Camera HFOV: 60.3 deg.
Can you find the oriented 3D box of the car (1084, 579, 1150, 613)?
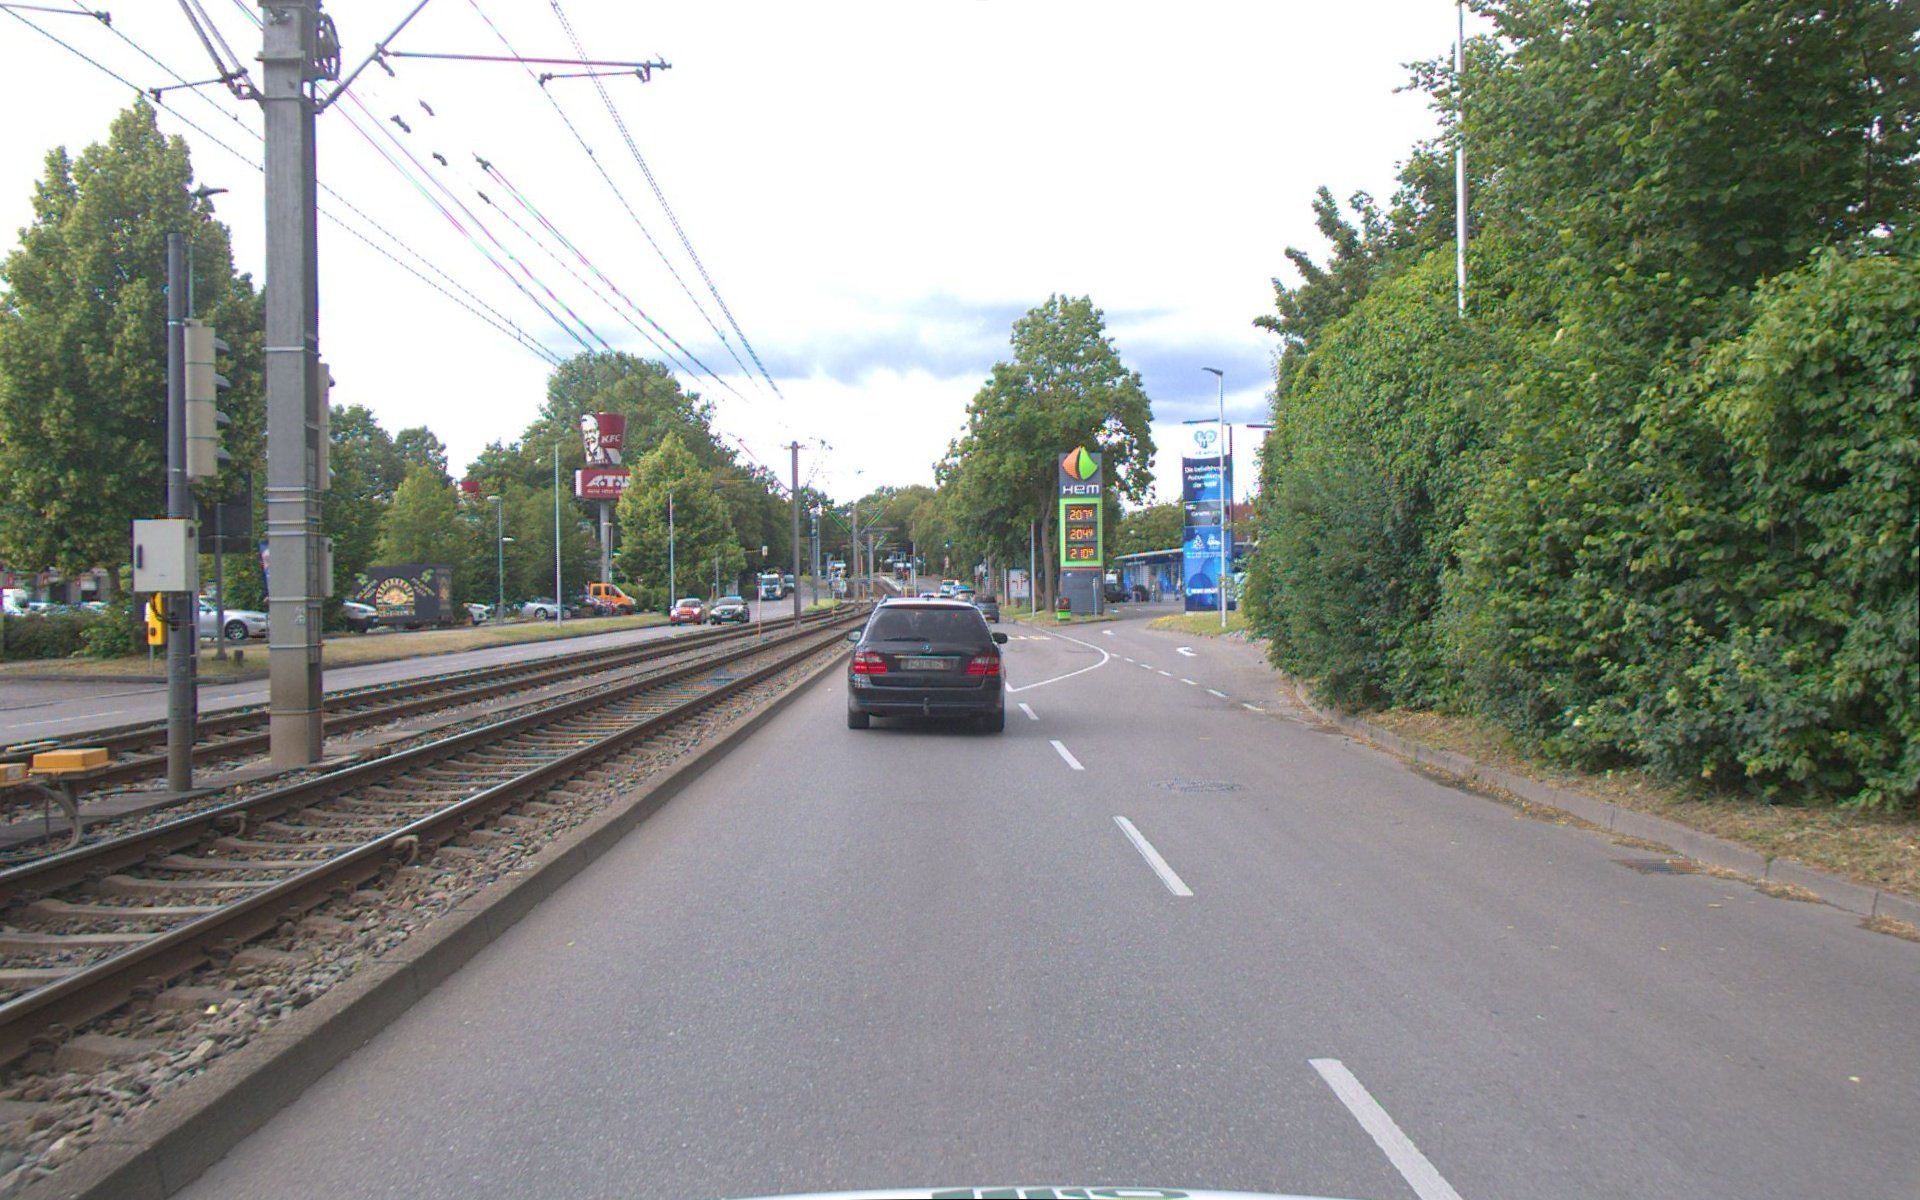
[{"bbox_3d":[8.032,-0.196,84.592,3.034,1.626,1.425,-2,-1,18],"label":"car"}]

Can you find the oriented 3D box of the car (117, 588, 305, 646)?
[{"bbox_3d":[-23.526,0.510,52.137,4.683,1.657,2.652,-1,1,-1],"label":"car"}]

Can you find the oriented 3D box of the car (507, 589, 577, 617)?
[{"bbox_3d":[-25.797,0.201,102.220,3.910,1.627,1.876,-1,0,-6],"label":"car"}]

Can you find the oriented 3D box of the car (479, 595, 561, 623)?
[{"bbox_3d":[-24.976,0.484,93.989,4.221,1.497,1.679,-1,0,-4],"label":"car"}]

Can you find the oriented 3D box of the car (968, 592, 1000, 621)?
[{"bbox_3d":[1.252,0.343,87.378,1.539,1.439,3.353,1,0,-1],"label":"car"}]

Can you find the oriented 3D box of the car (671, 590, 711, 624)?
[{"bbox_3d":[-15.048,0.387,92.715,1.756,1.803,3.998,-1,0,-3],"label":"car"}]

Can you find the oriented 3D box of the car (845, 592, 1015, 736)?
[{"bbox_3d":[-0.347,0.666,19.323,1.772,1.500,3.880,0,0,-1],"label":"car"}]

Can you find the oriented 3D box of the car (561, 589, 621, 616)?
[{"bbox_3d":[-25.621,0.152,114.924,3.910,1.829,1.876,0,0,-6],"label":"car"}]

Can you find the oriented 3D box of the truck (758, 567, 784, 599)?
[{"bbox_3d":[-23.389,-2.068,205.002,2.653,3.727,11.103,-1,0,-4],"label":"truck"}]

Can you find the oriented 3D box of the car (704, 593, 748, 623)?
[{"bbox_3d":[-12.258,0.386,86.928,1.724,1.425,4.442,-3,0,-2],"label":"car"}]

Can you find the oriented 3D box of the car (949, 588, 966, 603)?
[{"bbox_3d":[-0.350,-0.570,197.707,1.953,1.744,3.999,-1,0,-1],"label":"car"}]

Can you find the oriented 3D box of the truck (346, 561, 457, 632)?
[{"bbox_3d":[-23.763,-0.148,70.525,3.908,2.871,2.374,-1,0,-4],"label":"truck"}]

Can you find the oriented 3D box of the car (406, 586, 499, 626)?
[{"bbox_3d":[-24.525,0.293,80.030,3.910,1.829,1.876,-1,0,-6],"label":"car"}]

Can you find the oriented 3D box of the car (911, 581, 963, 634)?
[{"bbox_3d":[-0.821,0.267,58.542,1.744,1.781,3.717,1,0,-1],"label":"car"}]

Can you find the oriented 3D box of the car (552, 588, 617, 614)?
[{"bbox_3d":[-24.904,0.067,109.791,3.910,1.627,1.876,-1,0,-6],"label":"car"}]

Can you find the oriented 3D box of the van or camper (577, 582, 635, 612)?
[{"bbox_3d":[-25.600,-0.234,119.775,3.910,2.172,1.876,0,0,-6],"label":"van or camper"}]

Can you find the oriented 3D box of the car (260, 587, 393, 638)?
[{"bbox_3d":[-23.530,0.452,61.564,4.136,1.757,1.994,-1,0,-3],"label":"car"}]

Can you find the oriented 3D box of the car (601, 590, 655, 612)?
[{"bbox_3d":[-25.757,0.077,128.442,3.910,1.627,1.794,-1,0,-6],"label":"car"}]

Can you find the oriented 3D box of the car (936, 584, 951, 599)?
[{"bbox_3d":[-2.154,-1.097,216.981,1.953,1.870,3.999,1,0,-1],"label":"car"}]
